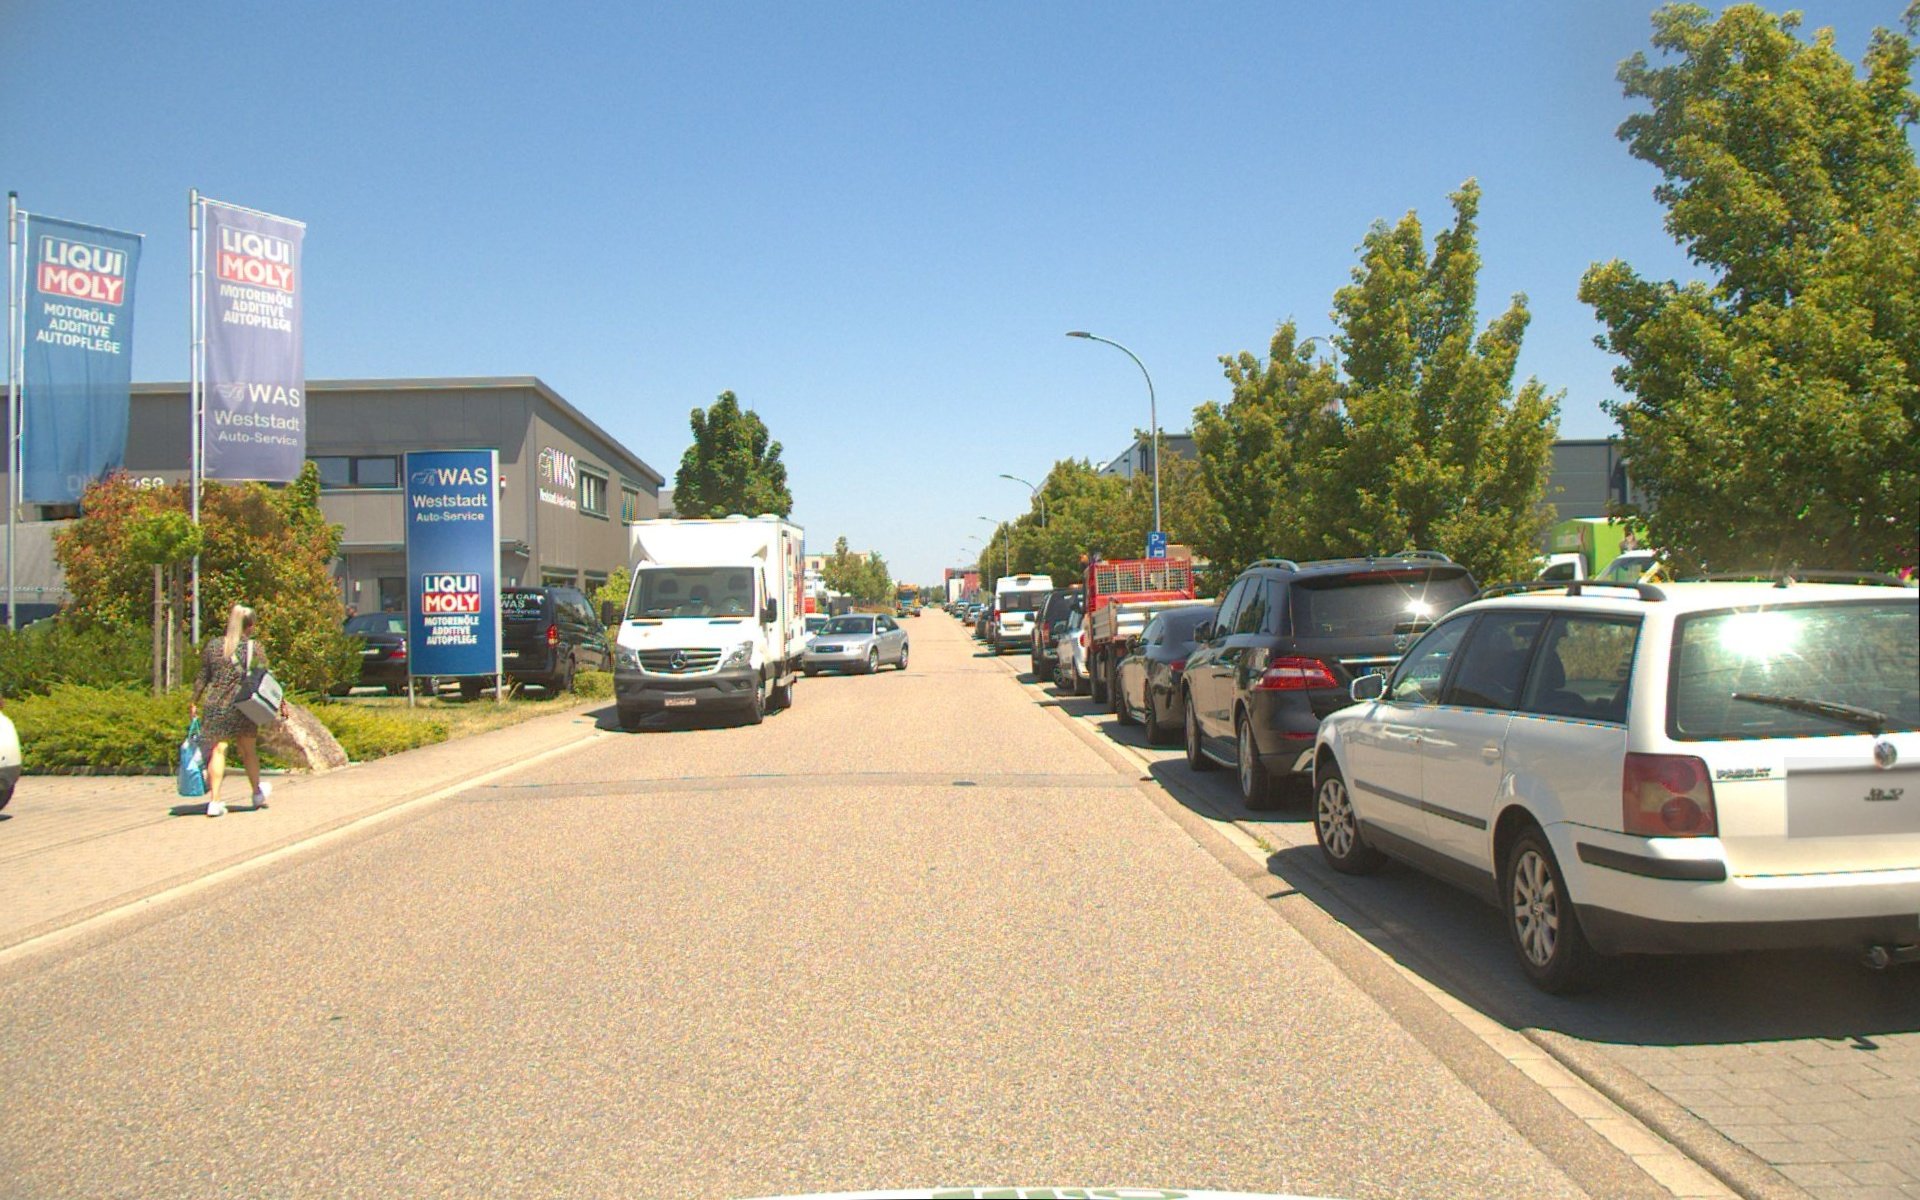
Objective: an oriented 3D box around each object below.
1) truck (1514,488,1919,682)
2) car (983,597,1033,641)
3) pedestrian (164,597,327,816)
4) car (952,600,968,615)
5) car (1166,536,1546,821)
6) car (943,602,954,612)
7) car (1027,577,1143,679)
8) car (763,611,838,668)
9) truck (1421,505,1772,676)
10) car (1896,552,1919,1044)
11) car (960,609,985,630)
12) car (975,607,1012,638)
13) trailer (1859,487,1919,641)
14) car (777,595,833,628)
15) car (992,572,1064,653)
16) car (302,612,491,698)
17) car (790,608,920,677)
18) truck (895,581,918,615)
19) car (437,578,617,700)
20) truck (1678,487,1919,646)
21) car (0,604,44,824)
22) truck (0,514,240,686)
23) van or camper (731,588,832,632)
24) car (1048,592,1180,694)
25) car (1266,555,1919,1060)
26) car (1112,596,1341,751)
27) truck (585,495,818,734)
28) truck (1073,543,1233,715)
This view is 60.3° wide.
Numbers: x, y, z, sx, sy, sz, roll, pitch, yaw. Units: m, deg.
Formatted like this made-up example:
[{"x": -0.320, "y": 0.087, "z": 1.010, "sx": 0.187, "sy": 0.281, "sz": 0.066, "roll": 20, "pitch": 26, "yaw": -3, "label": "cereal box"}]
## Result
[{"x": 12.503, "y": -0.239, "z": 27.437, "sx": 5.786, "sy": 2.922, "sz": 2.304, "roll": -2, "pitch": -1, "yaw": -4, "label": "truck"}, {"x": 2.108, "y": 0.847, "z": 73.205, "sx": 1.953, "sy": 1.857, "sz": 4.352, "roll": -2, "pitch": -1, "yaw": -1, "label": "car"}, {"x": -5.421, "y": 0.786, "z": 12.594, "sx": 0.880, "sy": 1.602, "sz": 0.785, "roll": 1, "pitch": 0, "yaw": 0, "label": "pedestrian"}, {"x": 0.038, "y": 0.745, "z": 169.575, "sx": 1.553, "sy": 1.434, "sz": 3.499, "roll": -1, "pitch": 0, "yaw": -1, "label": "car"}, {"x": 2.867, "y": 0.499, "z": 13.119, "sx": 1.774, "sy": 1.755, "sz": 4.773, "roll": -3, "pitch": 0, "yaw": 0, "label": "car"}, {"x": -1.581, "y": 1.004, "z": 234.097, "sx": 1.465, "sy": 1.434, "sz": 3.499, "roll": -1, "pitch": 0, "yaw": -1, "label": "car"}, {"x": 2.567, "y": 0.560, "z": 35.093, "sx": 1.953, "sy": 1.917, "sz": 5.154, "roll": -2, "pitch": 0, "yaw": -1, "label": "car"}, {"x": -4.344, "y": 1.054, "z": 45.495, "sx": 1.695, "sy": 1.484, "sz": 4.490, "roll": -1, "pitch": -1, "yaw": -1, "label": "car"}, {"x": 12.023, "y": -0.172, "z": 31.558, "sx": 5.704, "sy": 2.964, "sz": 2.414, "roll": -2, "pitch": -1, "yaw": -2, "label": "truck"}, {"x": 3.265, "y": 0.597, "z": 1.561, "sx": 1.769, "sy": 1.508, "sz": 4.770, "roll": -3, "pitch": 0, "yaw": -4, "label": "car"}, {"x": 0.891, "y": 1.461, "z": 122.288, "sx": 1.683, "sy": 1.475, "sz": 3.645, "roll": -2, "pitch": 0, "yaw": -1, "label": "car"}, {"x": 1.753, "y": 1.153, "z": 85.517, "sx": 1.673, "sy": 1.531, "sz": 4.708, "roll": -2, "pitch": -1, "yaw": 4, "label": "car"}, {"x": 30.629, "y": -1.021, "z": 43.550, "sx": 12.361, "sy": 3.943, "sz": 2.803, "roll": -1, "pitch": -1, "yaw": -1, "label": "trailer"}, {"x": -13.116, "y": 0.943, "z": 140.388, "sx": 4.623, "sy": 2.631, "sz": 1.998, "roll": -2, "pitch": 0, "yaw": -5, "label": "car"}, {"x": 2.223, "y": 0.420, "z": 56.083, "sx": 2.221, "sy": 2.541, "sz": 6.152, "roll": -2, "pitch": 0, "yaw": 1, "label": "car"}, {"x": -10.205, "y": 0.946, "z": 30.353, "sx": 1.892, "sy": 1.441, "sz": 4.768, "roll": 0, "pitch": 0, "yaw": -1, "label": "car"}, {"x": -2.472, "y": 0.998, "z": 40.184, "sx": 1.745, "sy": 1.447, "sz": 4.417, "roll": -3, "pitch": 0, "yaw": 15, "label": "car"}, {"x": -6.025, "y": -0.245, "z": 186.563, "sx": 2.399, "sy": 3.574, "sz": 8.270, "roll": -2, "pitch": 0, "yaw": -1, "label": "truck"}, {"x": -7.692, "y": 0.664, "z": 29.944, "sx": 1.953, "sy": 1.991, "sz": 5.216, "roll": -1, "pitch": -1, "yaw": -1, "label": "car"}, {"x": 21.983, "y": -0.838, "z": 43.428, "sx": 4.959, "sy": 3.943, "sz": 2.803, "roll": -1, "pitch": -1, "yaw": -1, "label": "truck"}, {"x": -8.094, "y": 0.826, "z": 11.399, "sx": 2.686, "sy": 1.544, "sz": 1.535, "roll": -1, "pitch": 0, "yaw": -2, "label": "car"}, {"x": -20.277, "y": -0.001, "z": 37.968, "sx": 7.883, "sy": 3.619, "sz": 2.583, "roll": 0, "pitch": 0, "yaw": 28, "label": "truck"}, {"x": -13.360, "y": 0.737, "z": 124.047, "sx": 7.236, "sy": 3.090, "sz": 2.789, "roll": -1, "pitch": 0, "yaw": -2, "label": "van or camper"}, {"x": 2.603, "y": 0.717, "z": 28.838, "sx": 1.704, "sy": 1.557, "sz": 3.998, "roll": -3, "pitch": 0, "yaw": -2, "label": "car"}, {"x": 2.856, "y": 0.623, "z": 7.556, "sx": 1.680, "sy": 1.508, "sz": 4.770, "roll": -3, "pitch": 0, "yaw": -4, "label": "car"}, {"x": 2.805, "y": 0.726, "z": 18.434, "sx": 1.663, "sy": 1.407, "sz": 4.836, "roll": -3, "pitch": 0, "yaw": -1, "label": "car"}, {"x": -3.575, "y": 0.212, "z": 24.299, "sx": 2.314, "sy": 2.910, "sz": 6.414, "roll": -3, "pitch": -1, "yaw": -1, "label": "truck"}, {"x": 2.745, "y": 0.400, "z": 24.386, "sx": 1.645, "sy": 2.219, "sz": 4.389, "roll": -3, "pitch": 0, "yaw": -1, "label": "truck"}]
